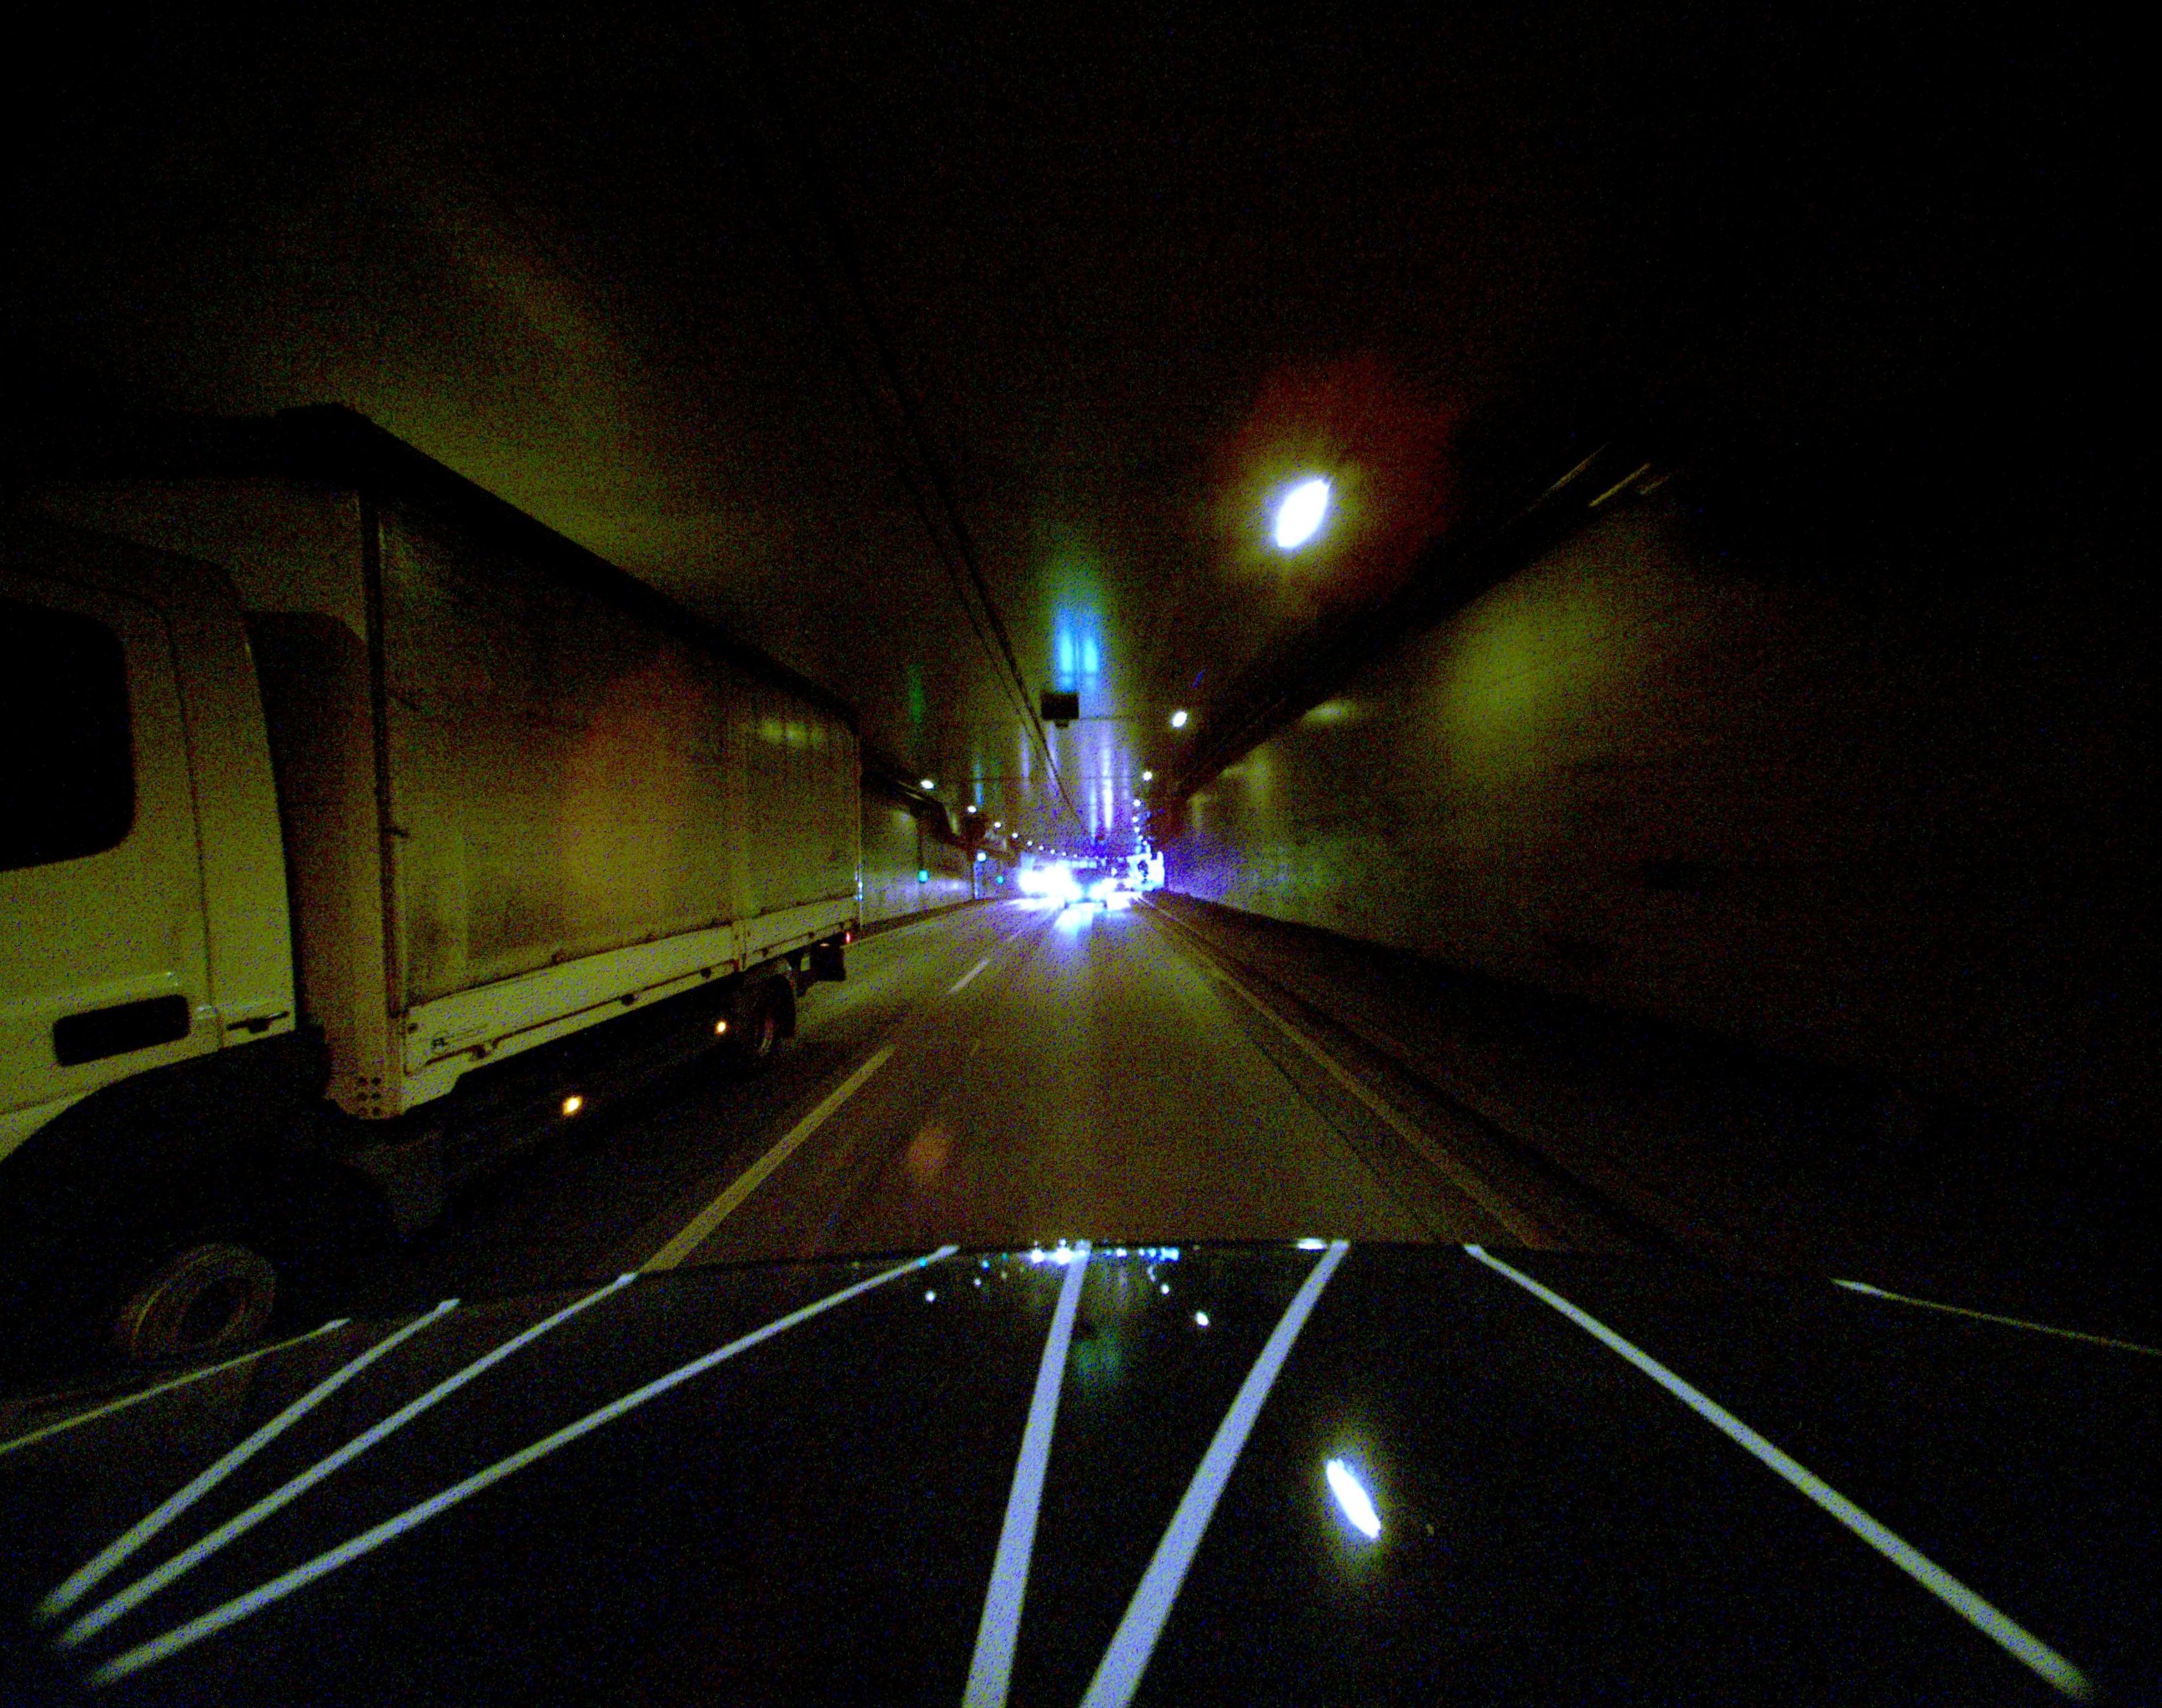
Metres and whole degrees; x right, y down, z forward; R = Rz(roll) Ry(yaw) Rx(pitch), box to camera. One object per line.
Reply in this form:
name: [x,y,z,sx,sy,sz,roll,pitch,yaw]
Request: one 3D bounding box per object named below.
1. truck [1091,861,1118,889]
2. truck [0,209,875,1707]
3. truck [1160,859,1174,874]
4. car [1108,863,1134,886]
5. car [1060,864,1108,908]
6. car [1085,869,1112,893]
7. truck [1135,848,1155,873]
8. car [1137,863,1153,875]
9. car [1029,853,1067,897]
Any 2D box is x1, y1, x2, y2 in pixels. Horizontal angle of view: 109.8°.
truck: [2.605,2.245,82.392,2.073,2.525,6.025,-5,1,8]
truck: [-3.504,0.277,4.171,2.560,3.162,7.246,-2,-1,1]
truck: [17.864,2.619,157.909,2.137,2.713,5.674,-5,1,12]
car: [3.713,1.908,70.415,1.934,1.917,4.200,-5,-2,7]
car: [0.182,1.220,29.839,1.639,1.551,3.717,-2,-1,3]
car: [1.410,2.049,59.076,1.764,1.552,3.819,-5,0,4]
truck: [13.310,1.200,156.536,2.885,4.447,10.458,-5,1,10]
car: [10.641,2.543,126.663,1.949,1.525,4.002,-5,2,13]
car: [-2.219,1.518,53.110,2.106,2.829,6.864,-3,-2,1]
